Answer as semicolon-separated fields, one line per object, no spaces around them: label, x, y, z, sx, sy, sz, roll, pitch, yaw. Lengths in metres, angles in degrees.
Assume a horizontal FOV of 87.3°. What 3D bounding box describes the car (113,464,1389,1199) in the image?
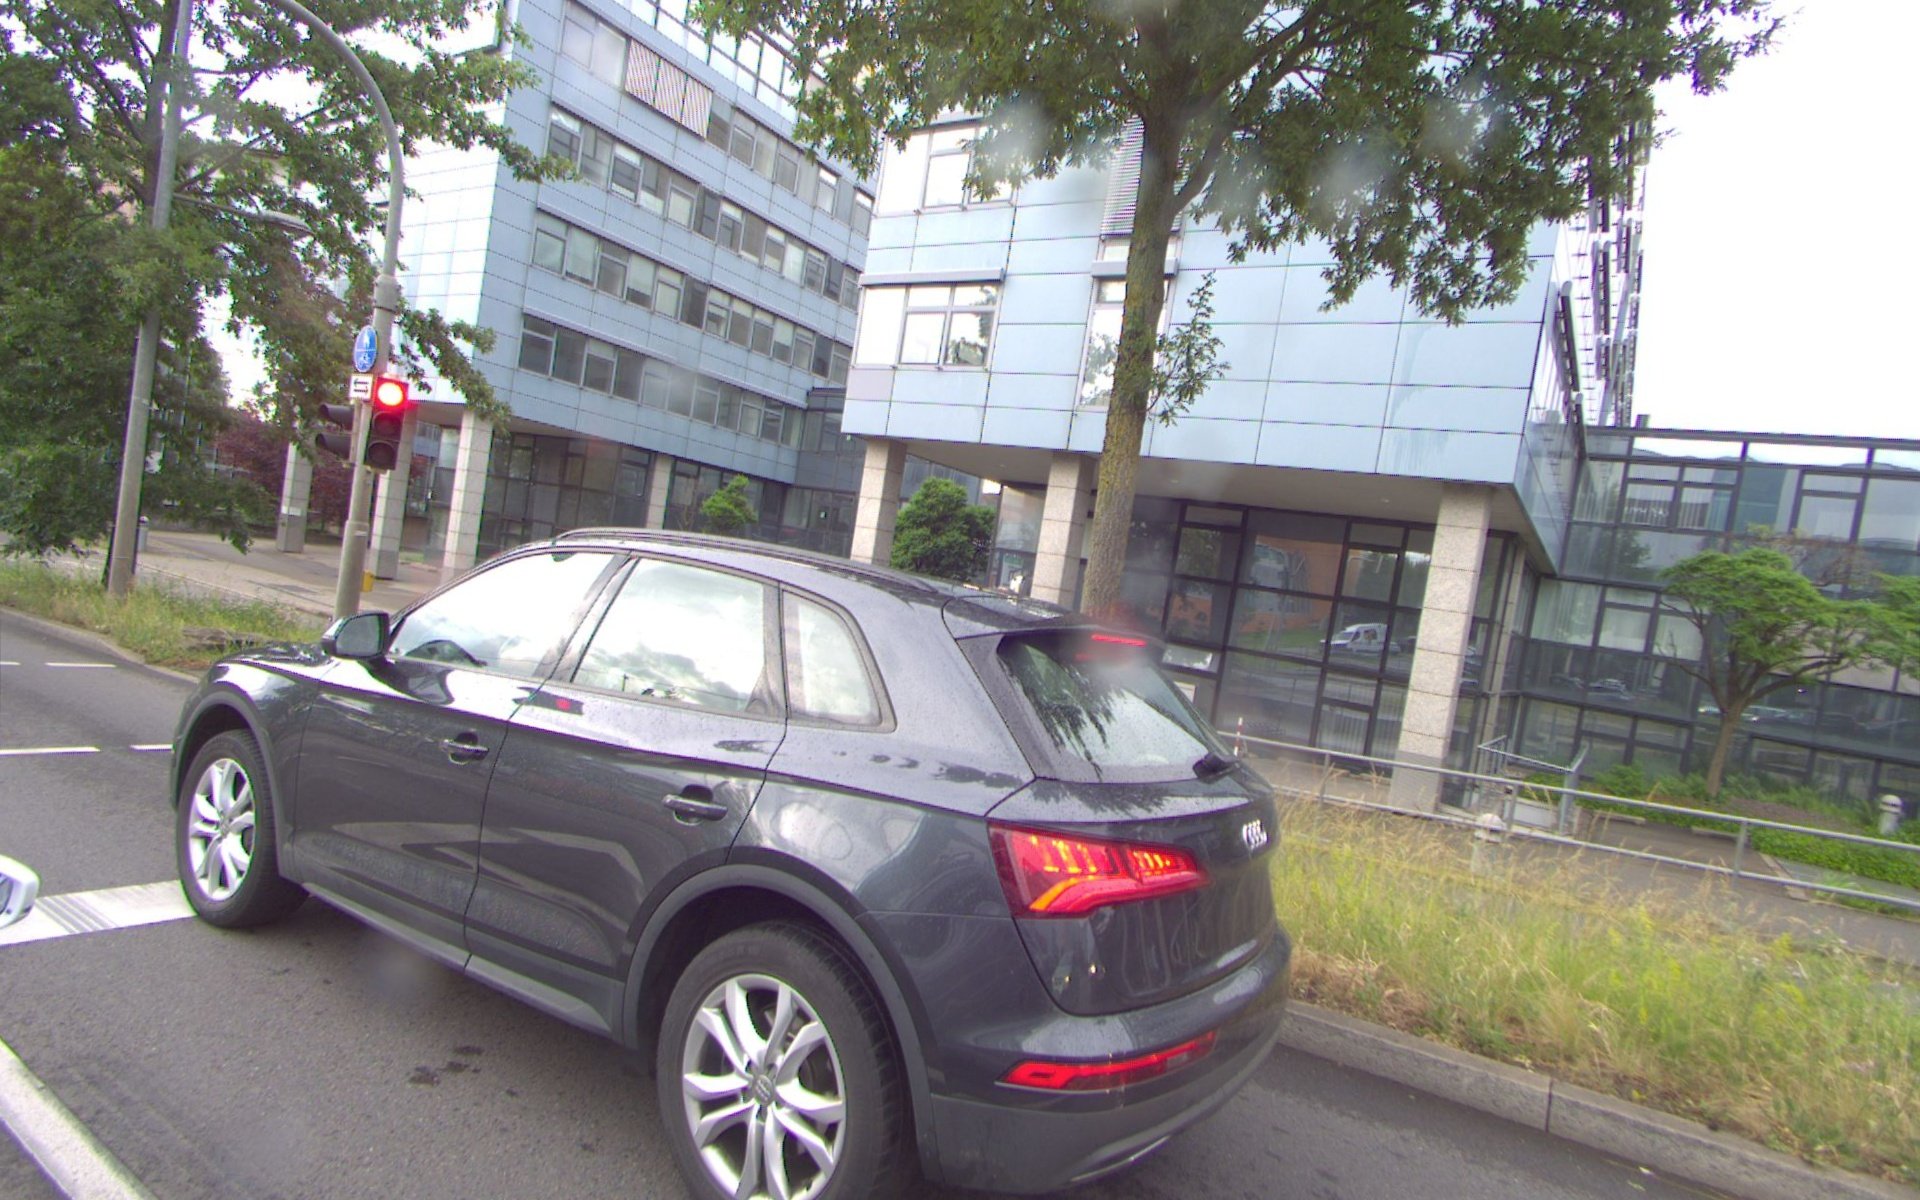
car;-1.005;0.569;3.694;4.396;1.632;1.821;7;-1;32
